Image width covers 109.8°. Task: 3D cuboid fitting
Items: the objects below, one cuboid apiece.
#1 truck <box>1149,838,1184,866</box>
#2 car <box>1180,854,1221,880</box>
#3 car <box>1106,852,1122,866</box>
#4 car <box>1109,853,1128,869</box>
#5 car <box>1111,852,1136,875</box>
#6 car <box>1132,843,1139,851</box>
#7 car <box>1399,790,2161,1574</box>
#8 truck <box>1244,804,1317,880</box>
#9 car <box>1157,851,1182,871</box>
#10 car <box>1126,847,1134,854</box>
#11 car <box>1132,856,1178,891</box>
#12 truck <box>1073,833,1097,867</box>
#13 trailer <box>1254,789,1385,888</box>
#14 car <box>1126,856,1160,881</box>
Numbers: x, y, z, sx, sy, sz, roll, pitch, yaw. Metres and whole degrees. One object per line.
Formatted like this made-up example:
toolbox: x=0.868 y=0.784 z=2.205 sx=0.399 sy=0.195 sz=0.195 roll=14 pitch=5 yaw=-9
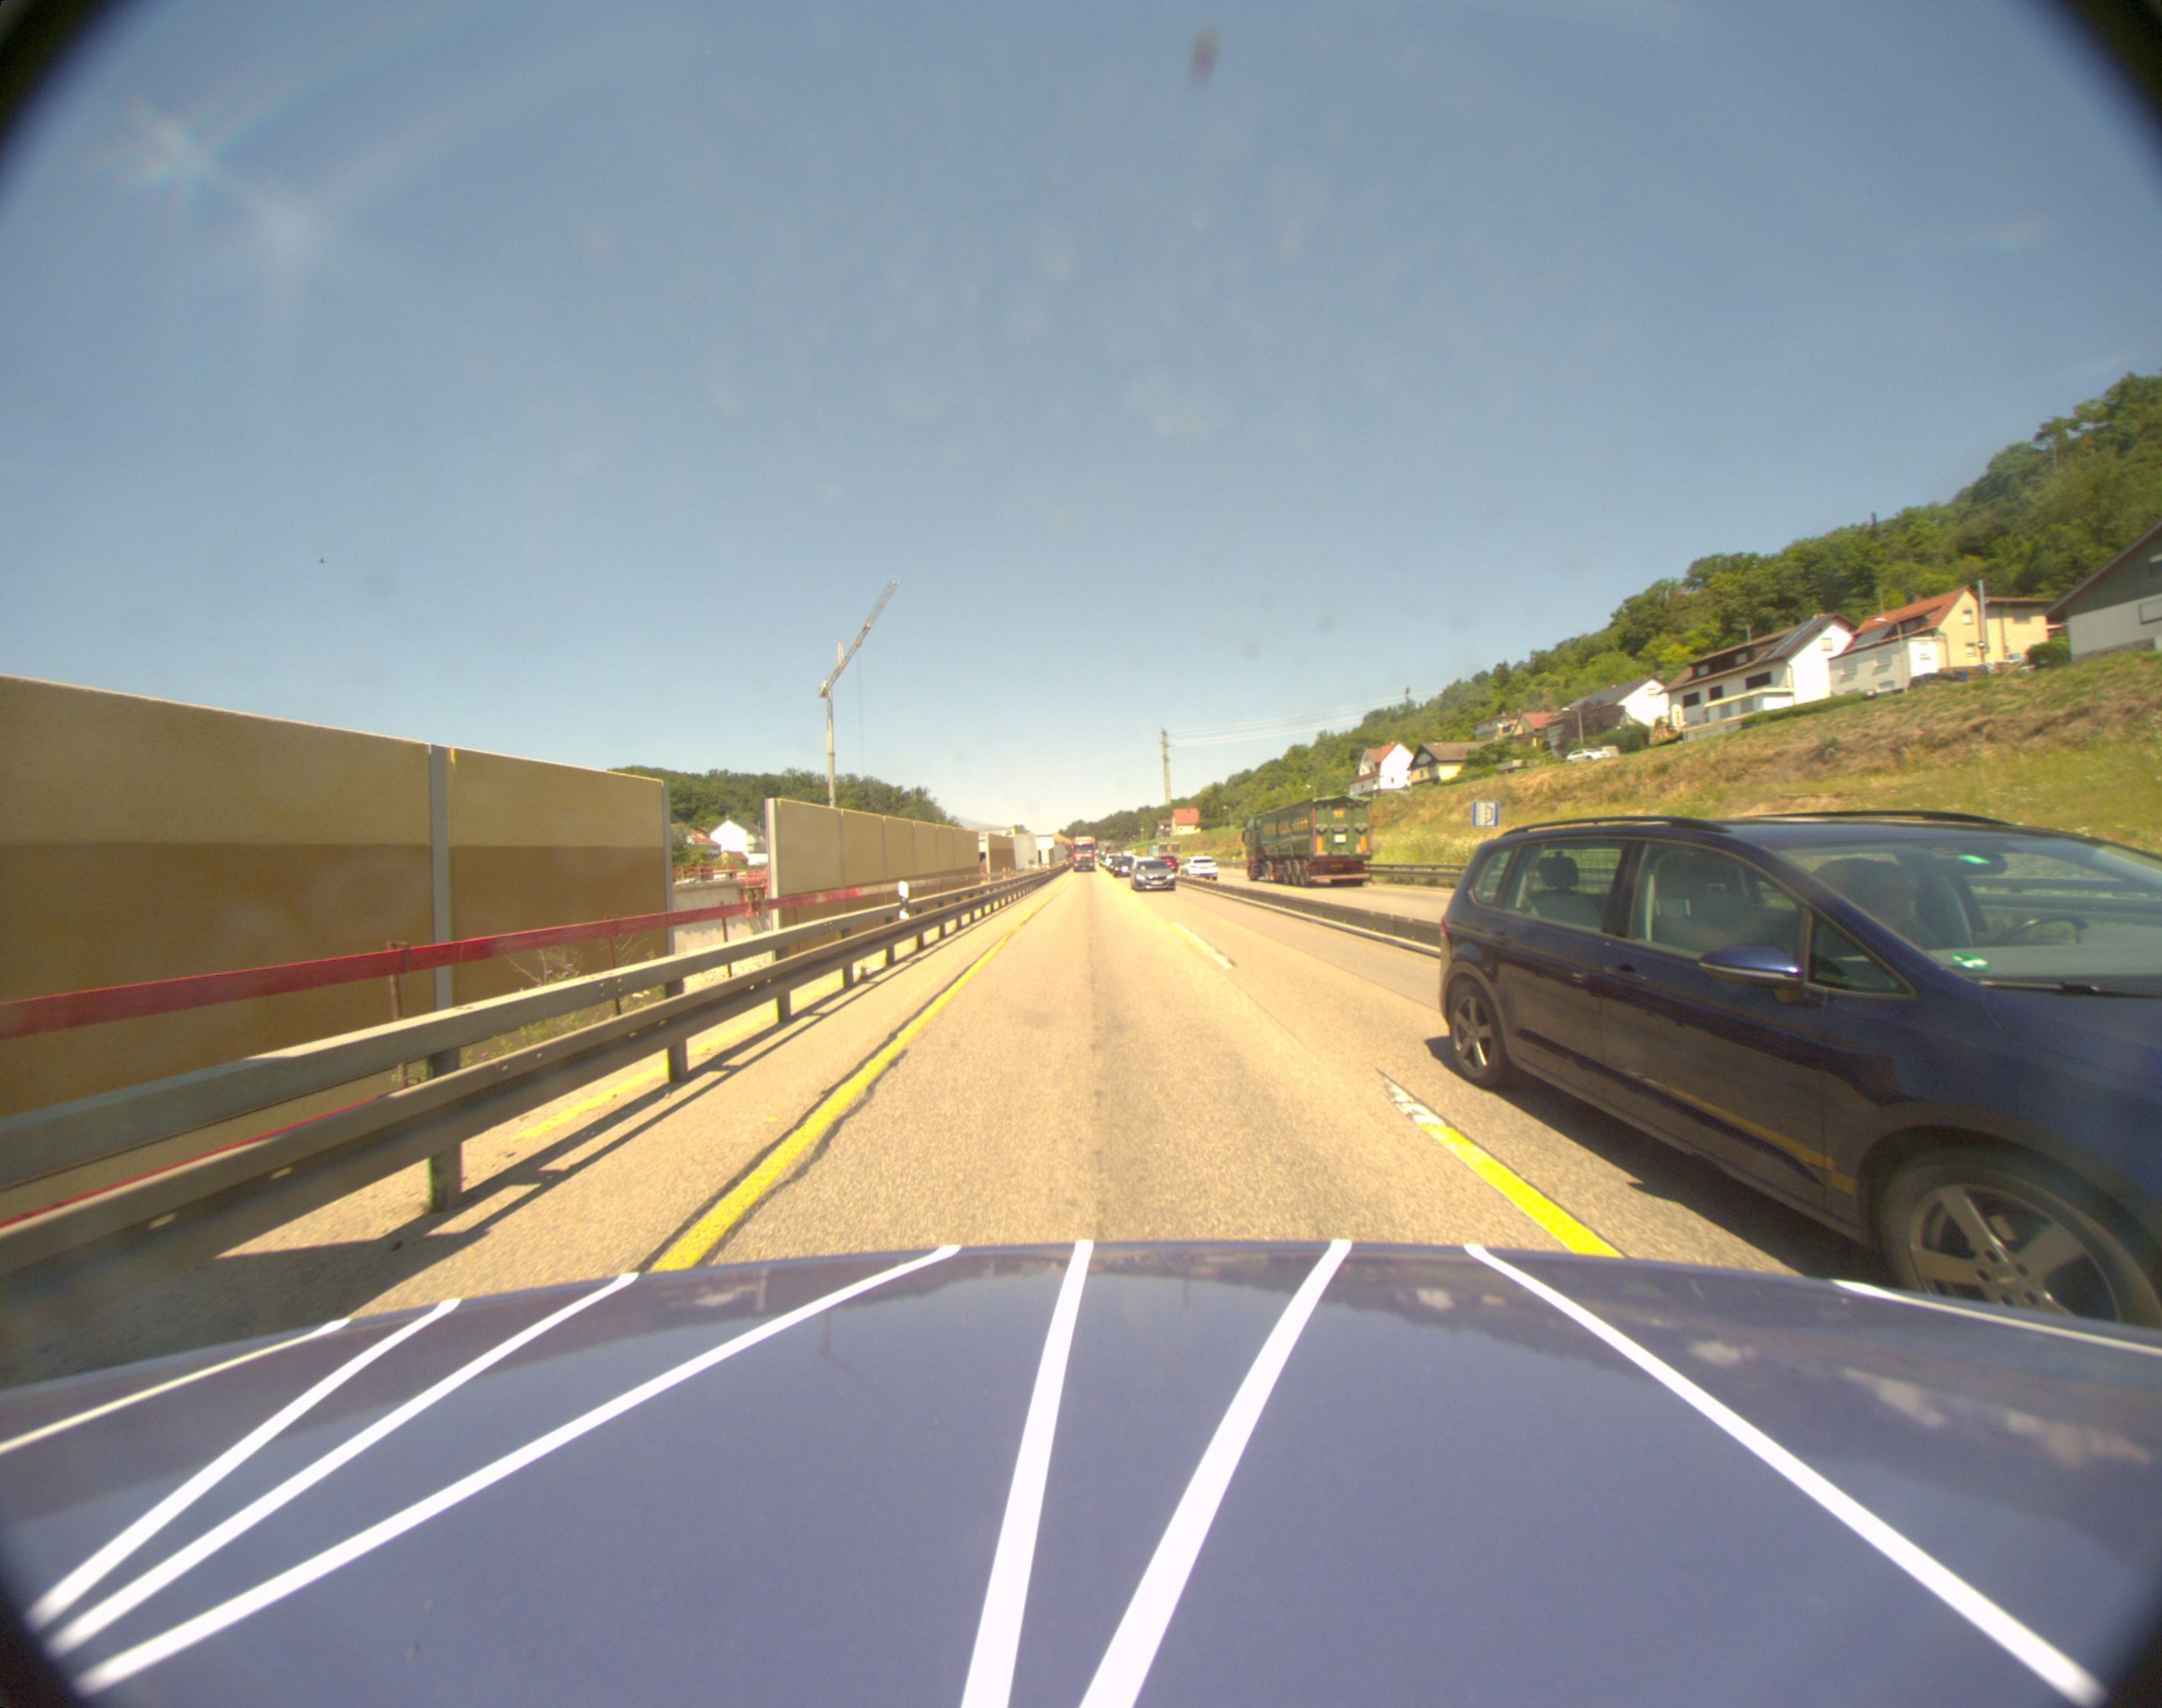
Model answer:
truck: x=11.386 y=-0.243 z=102.353 sx=2.769 sy=3.303 sz=15.935 roll=-2 pitch=0 yaw=0
car: x=7.382 y=0.788 z=47.189 sx=1.777 sy=1.461 sz=4.440 roll=-2 pitch=0 yaw=0
car: x=3.874 y=0.619 z=89.116 sx=1.780 sy=1.486 sz=4.336 roll=-2 pitch=0 yaw=1
car: x=3.719 y=0.733 z=76.210 sx=1.780 sy=1.486 sz=4.336 roll=-2 pitch=0 yaw=1
car: x=3.349 y=0.722 z=60.662 sx=1.780 sy=1.727 sz=4.336 roll=-2 pitch=0 yaw=1
car: x=15.957 y=-2.103 z=223.381 sx=1.679 sy=2.203 sz=4.044 roll=-2 pitch=0 yaw=0
car: x=3.242 y=0.700 z=3.298 sx=1.780 sy=1.708 sz=4.652 roll=-2 pitch=0 yaw=1
truck: x=10.959 y=-0.622 z=42.105 sx=2.902 sy=3.915 sz=4.178 roll=-2 pitch=0 yaw=0
car: x=8.088 y=0.633 z=69.767 sx=1.816 sy=1.706 sz=4.045 roll=-2 pitch=0 yaw=1
car: x=12.829 y=-0.934 z=199.652 sx=1.679 sy=1.615 sz=4.044 roll=-2 pitch=0 yaw=0
car: x=3.334 y=0.843 z=34.951 sx=1.780 sy=1.447 sz=4.336 roll=-2 pitch=0 yaw=1
truck: x=0.549 y=-0.404 z=90.149 sx=2.605 sy=3.704 sz=10.537 roll=-2 pitch=0 yaw=1
trailer: x=10.889 y=-0.613 z=36.097 sx=2.920 sy=3.915 sz=10.526 roll=-2 pitch=0 yaw=1
car: x=3.764 y=0.865 z=46.480 sx=1.780 sy=1.447 sz=4.336 roll=-2 pitch=0 yaw=1
